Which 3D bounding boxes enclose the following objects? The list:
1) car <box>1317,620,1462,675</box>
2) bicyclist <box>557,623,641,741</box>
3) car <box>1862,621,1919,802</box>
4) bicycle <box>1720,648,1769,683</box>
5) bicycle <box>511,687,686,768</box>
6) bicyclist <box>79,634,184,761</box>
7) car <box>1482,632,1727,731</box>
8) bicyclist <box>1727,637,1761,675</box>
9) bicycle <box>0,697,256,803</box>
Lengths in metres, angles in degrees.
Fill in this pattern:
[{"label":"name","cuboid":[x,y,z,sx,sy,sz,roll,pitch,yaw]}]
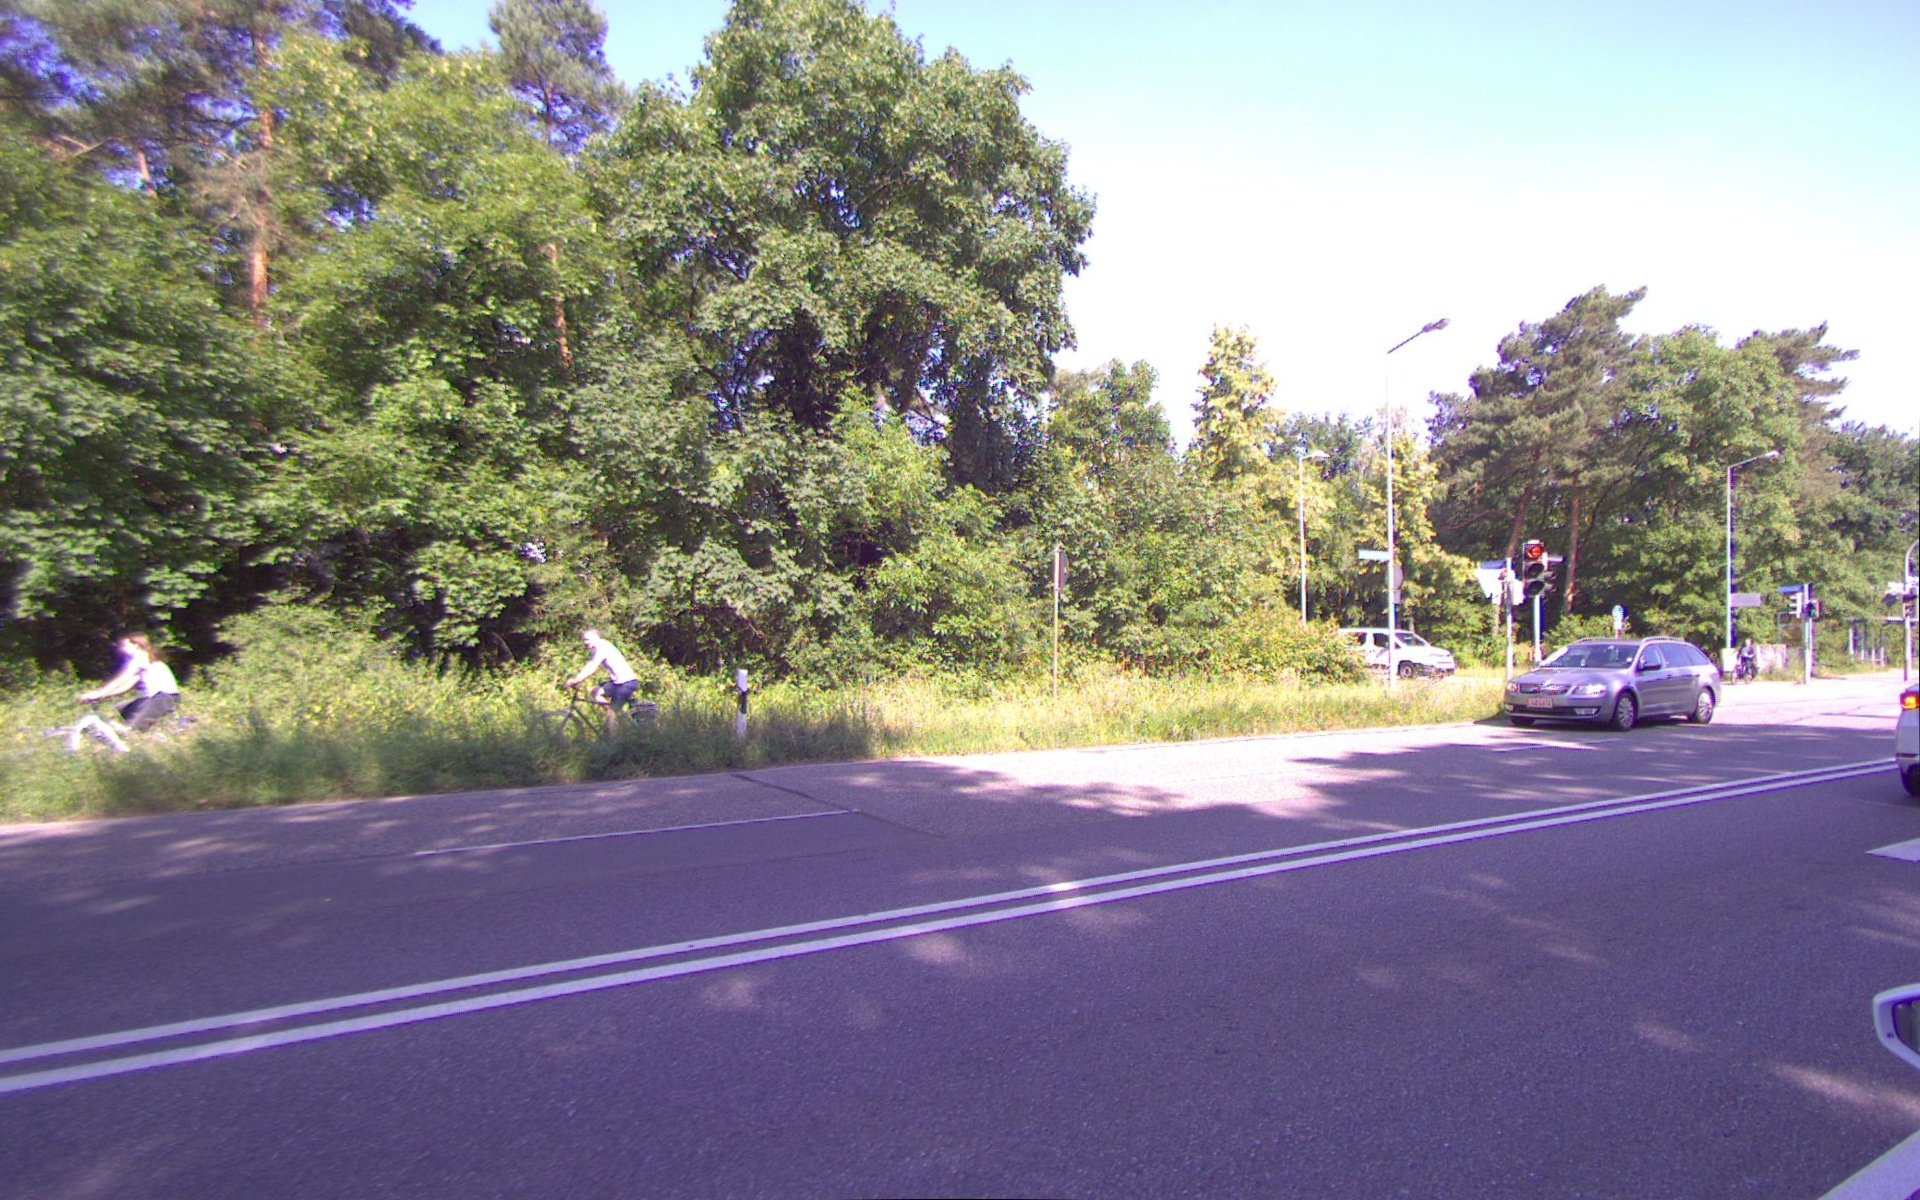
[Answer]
[{"label":"car","cuboid":[15.209,1.699,35.830,1.830,1.801,4.626,2,-3,-29]},{"label":"bicyclist","cuboid":[-4.756,1.057,13.221,0.933,1.486,0.608,2,0,-29]},{"label":"car","cuboid":[9.863,0.956,8.720,4.371,1.443,1.775,1,0,-30]},{"label":"bicycle","cuboid":[27.845,2.302,35.641,2.349,1.178,0.728,1,-2,-35]},{"label":"bicycle","cuboid":[-4.752,1.650,13.259,2.112,0.926,0.601,1,-2,-29]},{"label":"bicyclist","cuboid":[-8.901,1.020,10.826,0.718,1.280,0.697,2,0,-28]},{"label":"car","cuboid":[10.837,1.286,16.813,4.410,1.452,1.694,1,-3,-32]},{"label":"bicyclist","cuboid":[27.822,1.988,35.634,0.875,1.328,0.716,1,-2,-35]},{"label":"bicycle","cuboid":[-8.936,1.577,10.841,2.112,0.970,0.601,1,-2,-29]}]
